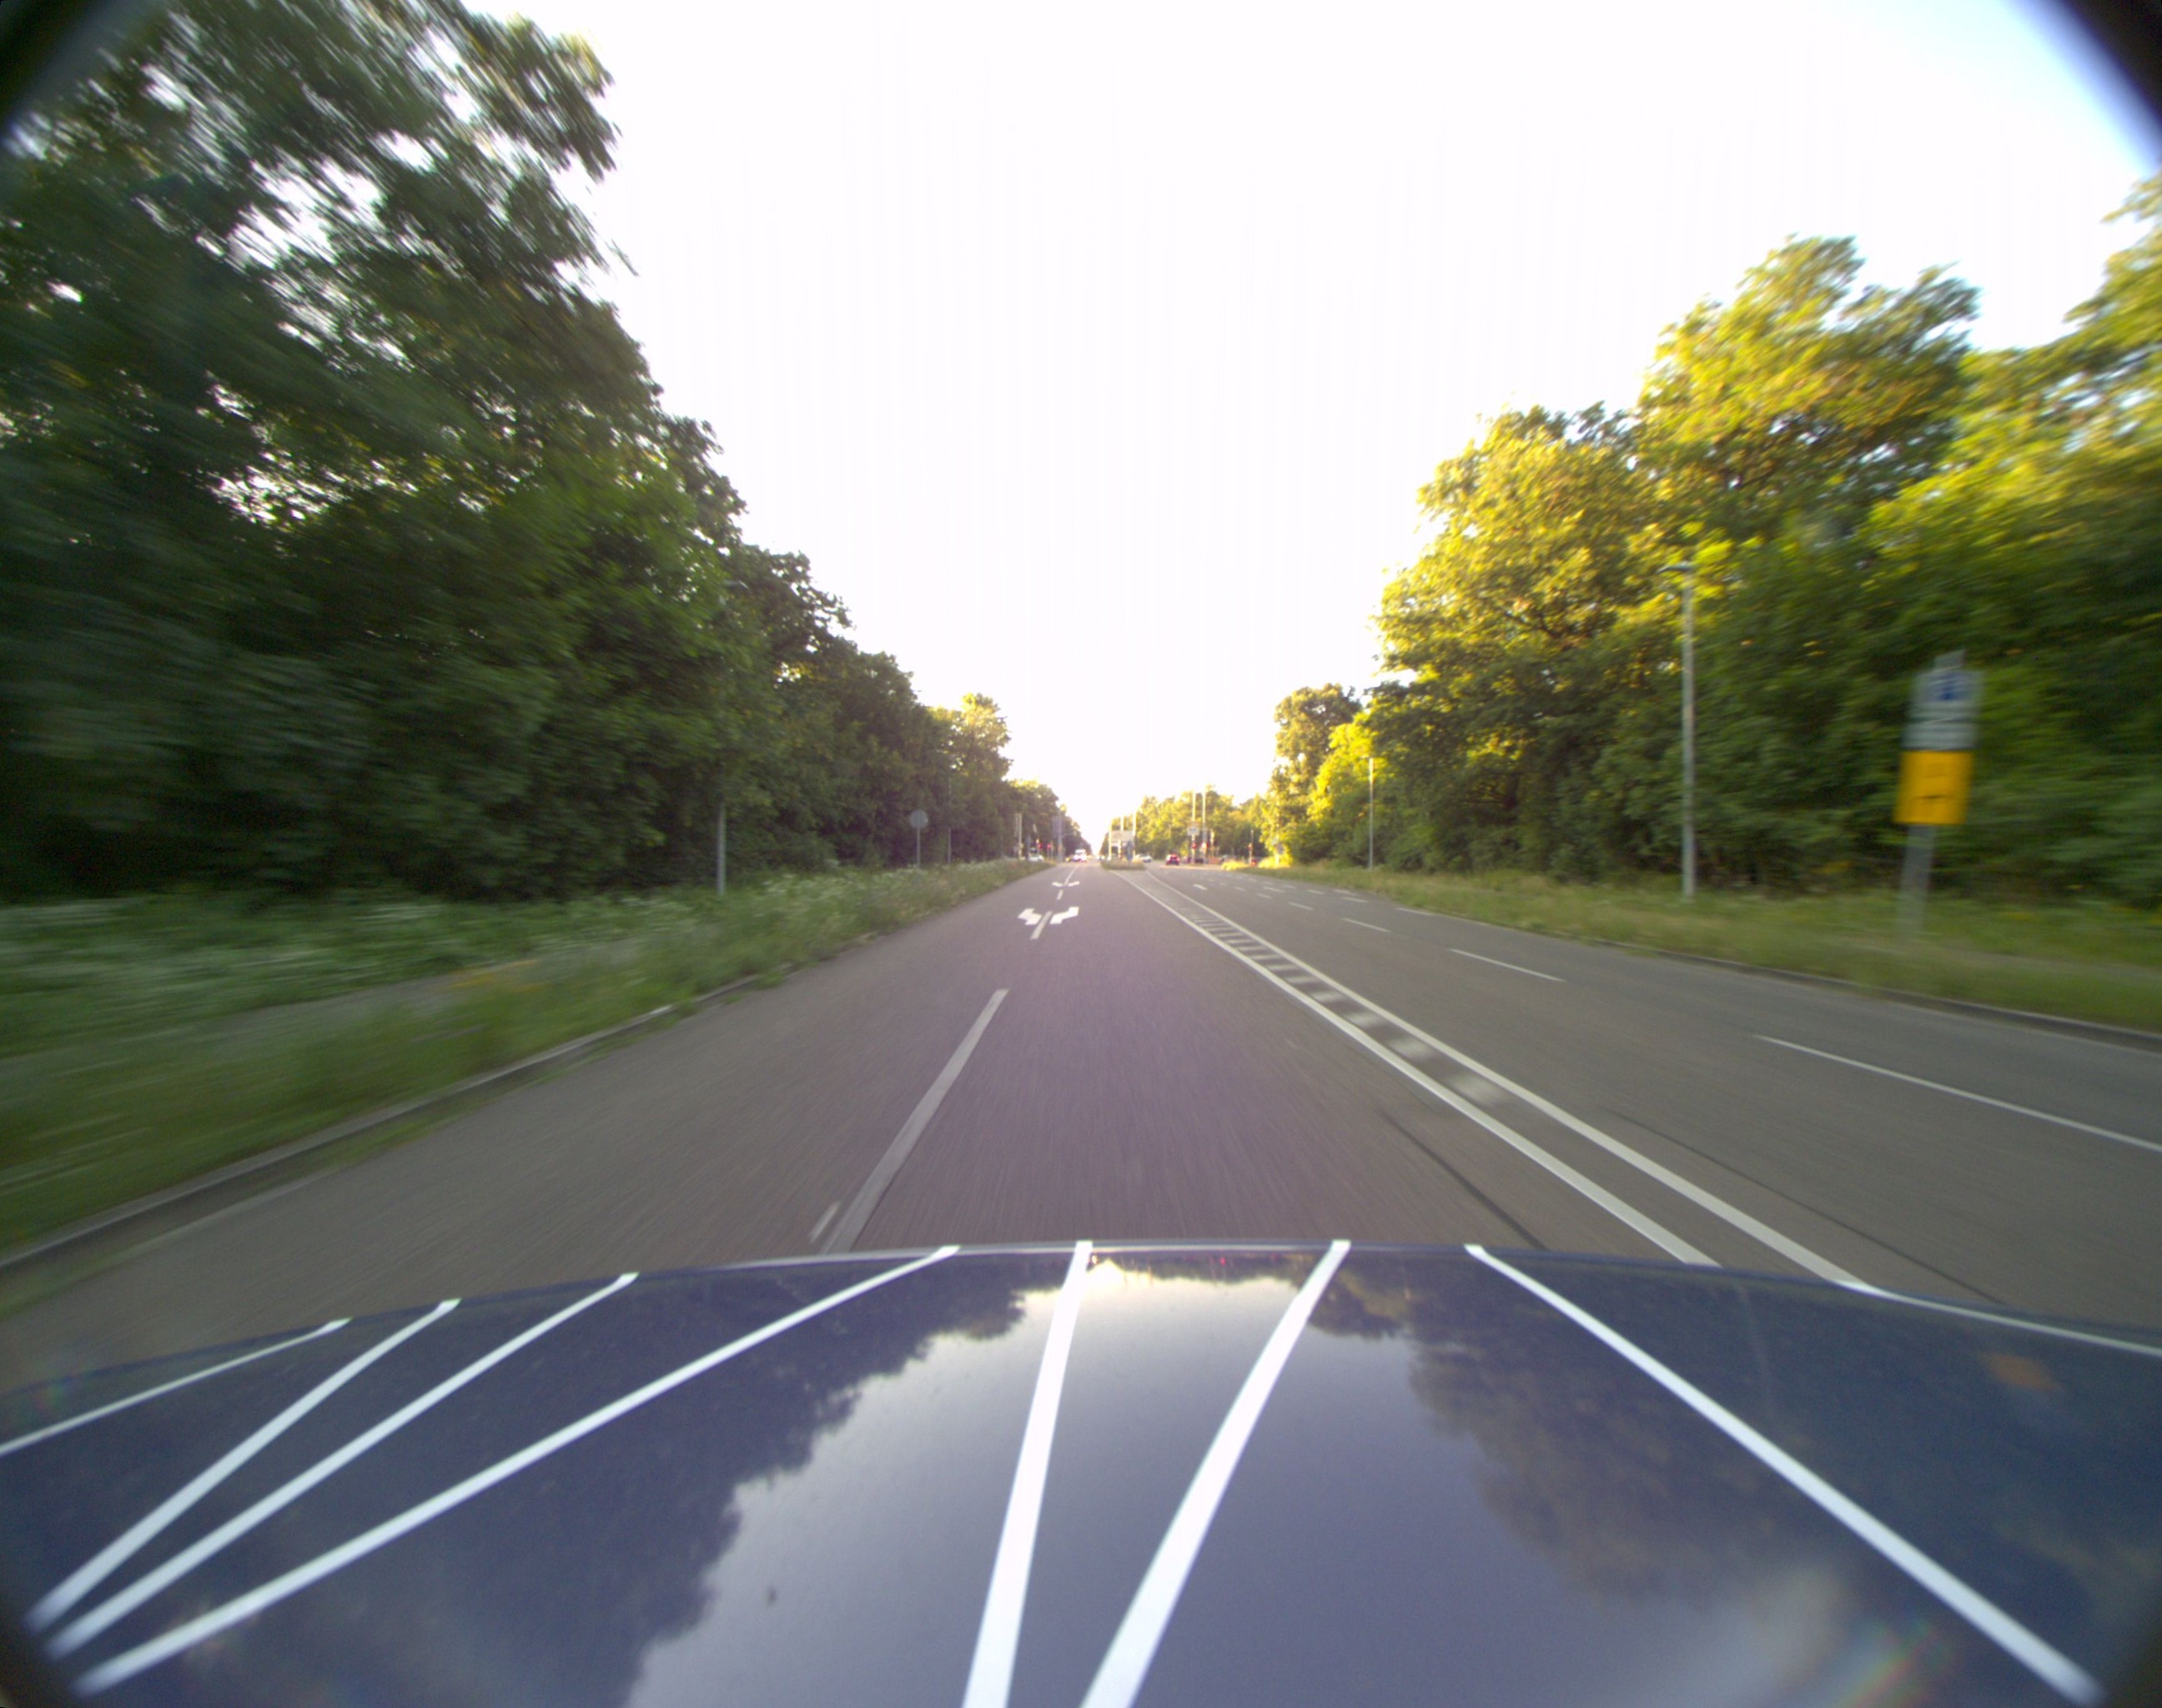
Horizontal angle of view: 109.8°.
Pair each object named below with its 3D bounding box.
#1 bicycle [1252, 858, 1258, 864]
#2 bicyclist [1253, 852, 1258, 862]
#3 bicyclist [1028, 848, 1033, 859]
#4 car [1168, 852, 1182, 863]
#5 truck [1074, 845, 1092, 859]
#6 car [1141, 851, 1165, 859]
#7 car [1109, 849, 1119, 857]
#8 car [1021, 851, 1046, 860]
[{"bbox_3d":[24.030,1.004,104.893,0.586,0.800,1.961,1,0,21],"label":"bicycle"},{"bbox_3d":[24.024,0.447,104.791,0.586,1.421,0.823,1,1,21],"label":"bicyclist"},{"bbox_3d":[-6.740,-0.059,102.301,0.604,1.447,0.780,1,1,2],"label":"bicyclist"},{"bbox_3d":[13.891,0.466,112.049,1.822,1.525,4.458,2,1,10],"label":"car"},{"bbox_3d":[0.372,-0.506,149.934,2.602,2.543,6.025,-2,1,8],"label":"truck"},{"bbox_3d":[13.469,0.239,142.271,4.236,1.447,1.719,0,1,-15],"label":"car"},{"bbox_3d":[6.621,-0.174,152.821,2.001,1.511,4.000,0,1,1],"label":"car"},{"bbox_3d":[-8.386,0.282,134.456,4.236,1.447,1.719,0,1,-15],"label":"car"}]
